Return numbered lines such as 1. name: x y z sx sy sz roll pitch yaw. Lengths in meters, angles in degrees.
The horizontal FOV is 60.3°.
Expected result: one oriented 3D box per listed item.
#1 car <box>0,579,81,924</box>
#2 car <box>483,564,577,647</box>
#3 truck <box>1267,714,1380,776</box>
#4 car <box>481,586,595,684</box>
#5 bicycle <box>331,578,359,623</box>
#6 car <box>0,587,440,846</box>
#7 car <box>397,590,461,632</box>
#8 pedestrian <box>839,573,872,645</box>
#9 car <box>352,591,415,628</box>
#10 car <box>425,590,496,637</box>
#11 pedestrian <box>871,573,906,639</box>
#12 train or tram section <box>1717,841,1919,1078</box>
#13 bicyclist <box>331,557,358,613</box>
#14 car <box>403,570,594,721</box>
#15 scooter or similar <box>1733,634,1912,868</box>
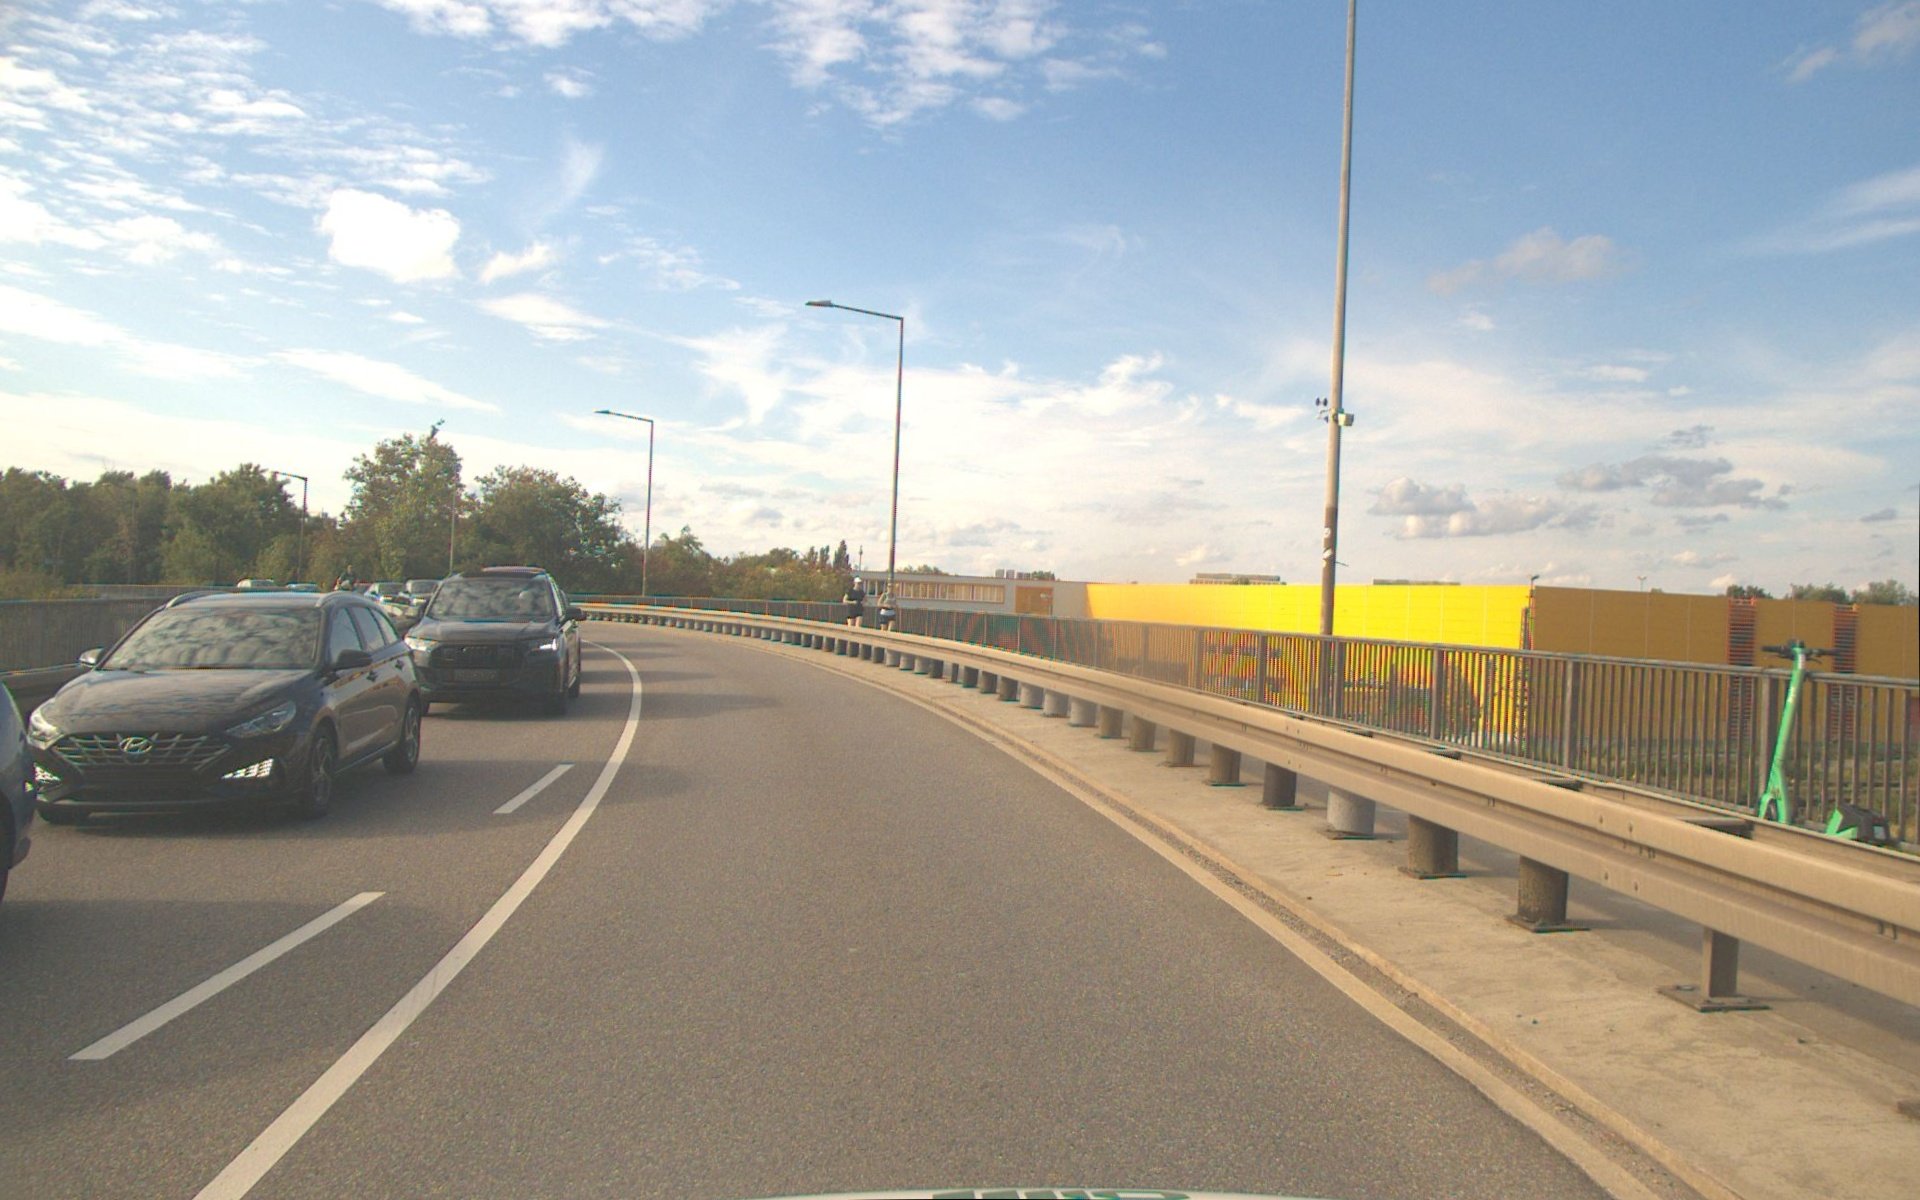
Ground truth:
1. car: -4.986 0.681 5.759 1.725 1.515 4.388 0 1 -4
2. car: -10.758 0.110 41.161 1.976 1.936 4.842 0 1 -18
3. truck: 24.607 9.756 111.954 7.098 3.680 2.653 0 2 -19
4. car: -7.055 0.524 27.951 1.710 1.527 4.065 0 1 -12
5. bicycle: -18.877 0.003 50.772 0.753 1.355 1.905 0 0 -20
6. car: -5.140 0.666 12.041 1.726 1.515 4.440 0 1 -6
7. car: -20.575 0.405 64.006 1.721 1.527 4.040 0 1 -28
8. pedestrian: -2.502 0.217 39.628 0.665 1.690 0.862 0 0 -13
9. car: -24.780 0.380 70.988 1.724 1.527 4.032 0 1 -32
10. car: -17.058 0.430 56.377 1.719 1.527 4.044 0 1 -25
11. pedestrian: -1.731 0.153 39.915 0.665 1.570 0.957 0 0 -13
12. train or tram section: 27.354 8.888 43.474 16.455 4.795 3.077 0 0 -21
13. bicyclist: -18.895 -0.465 50.807 0.755 1.689 1.113 0 0 -20
14. car: -5.772 0.485 21.216 1.795 1.701 4.856 0 1 -9
15. scooter or similar: 4.760 0.796 9.185 0.260 1.182 1.187 0 0 -7
